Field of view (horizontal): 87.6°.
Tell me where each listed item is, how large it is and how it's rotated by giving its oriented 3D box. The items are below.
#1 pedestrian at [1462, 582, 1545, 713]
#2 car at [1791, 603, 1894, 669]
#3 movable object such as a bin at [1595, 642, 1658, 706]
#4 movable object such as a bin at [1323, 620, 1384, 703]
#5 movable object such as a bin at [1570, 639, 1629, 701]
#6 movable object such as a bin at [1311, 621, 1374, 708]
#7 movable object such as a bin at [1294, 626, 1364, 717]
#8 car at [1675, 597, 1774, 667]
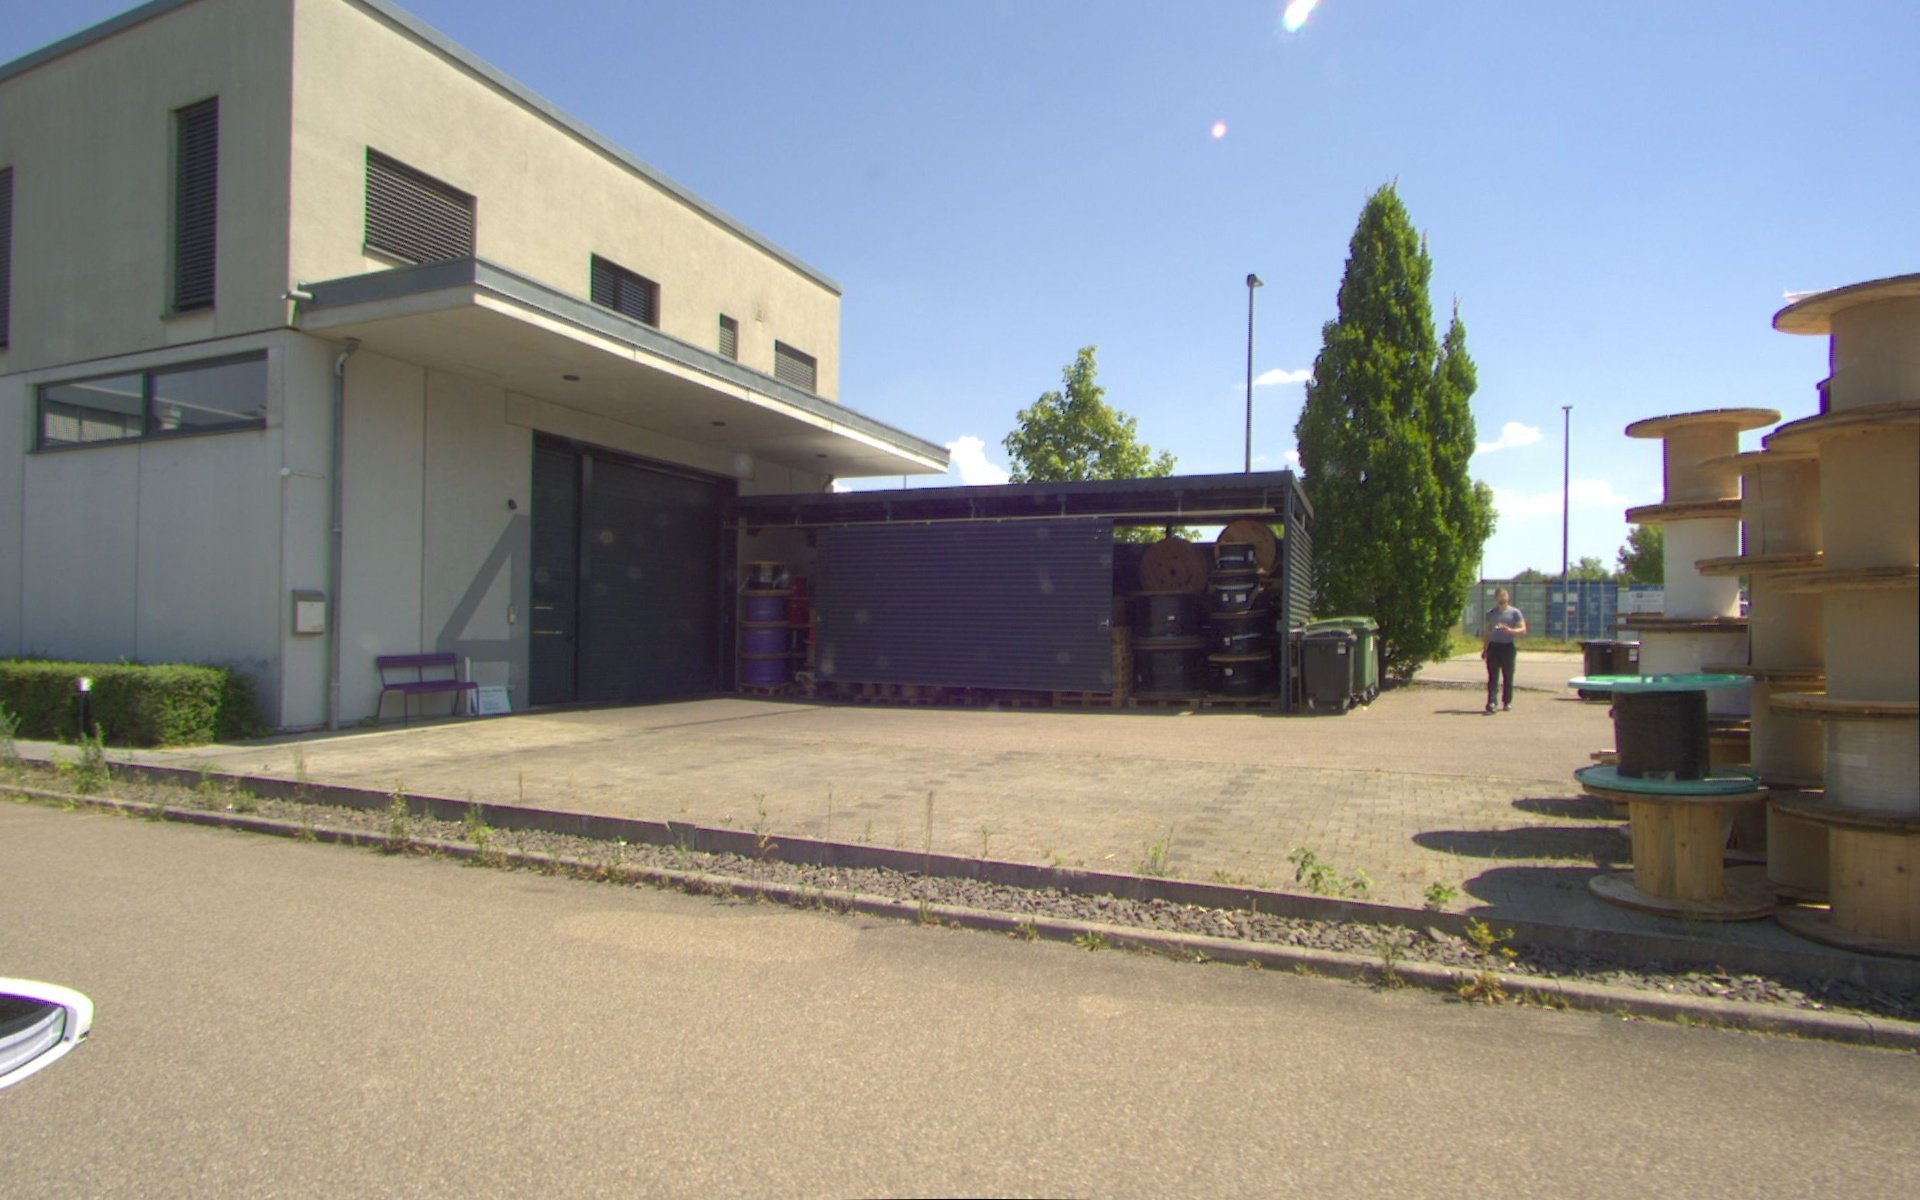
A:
[{"bbox_3d":[7.691,0.654,14.177,0.759,1.792,0.803,0,0,-36],"label":"pedestrian"},{"bbox_3d":[22.106,0.838,25.135,1.830,1.516,3.967,0,0,41],"label":"car"},{"bbox_3d":[9.994,1.099,15.021,0.537,0.929,0.585,-1,0,-1],"label":"movable object such as a bin"},{"bbox_3d":[6.468,0.994,16.448,0.790,1.315,0.806,-1,0,32],"label":"movable object such as a bin"},{"bbox_3d":[9.998,1.084,15.672,0.537,0.929,0.585,-1,0,-1],"label":"movable object such as a bin"},{"bbox_3d":[6.012,0.995,15.722,0.790,1.315,0.752,-1,0,32],"label":"movable object such as a bin"},{"bbox_3d":[5.385,1.023,14.608,0.790,1.266,0.872,-1,0,32],"label":"movable object such as a bin"},{"bbox_3d":[20.369,0.803,26.624,1.830,1.728,3.967,0,0,41],"label":"car"}]
